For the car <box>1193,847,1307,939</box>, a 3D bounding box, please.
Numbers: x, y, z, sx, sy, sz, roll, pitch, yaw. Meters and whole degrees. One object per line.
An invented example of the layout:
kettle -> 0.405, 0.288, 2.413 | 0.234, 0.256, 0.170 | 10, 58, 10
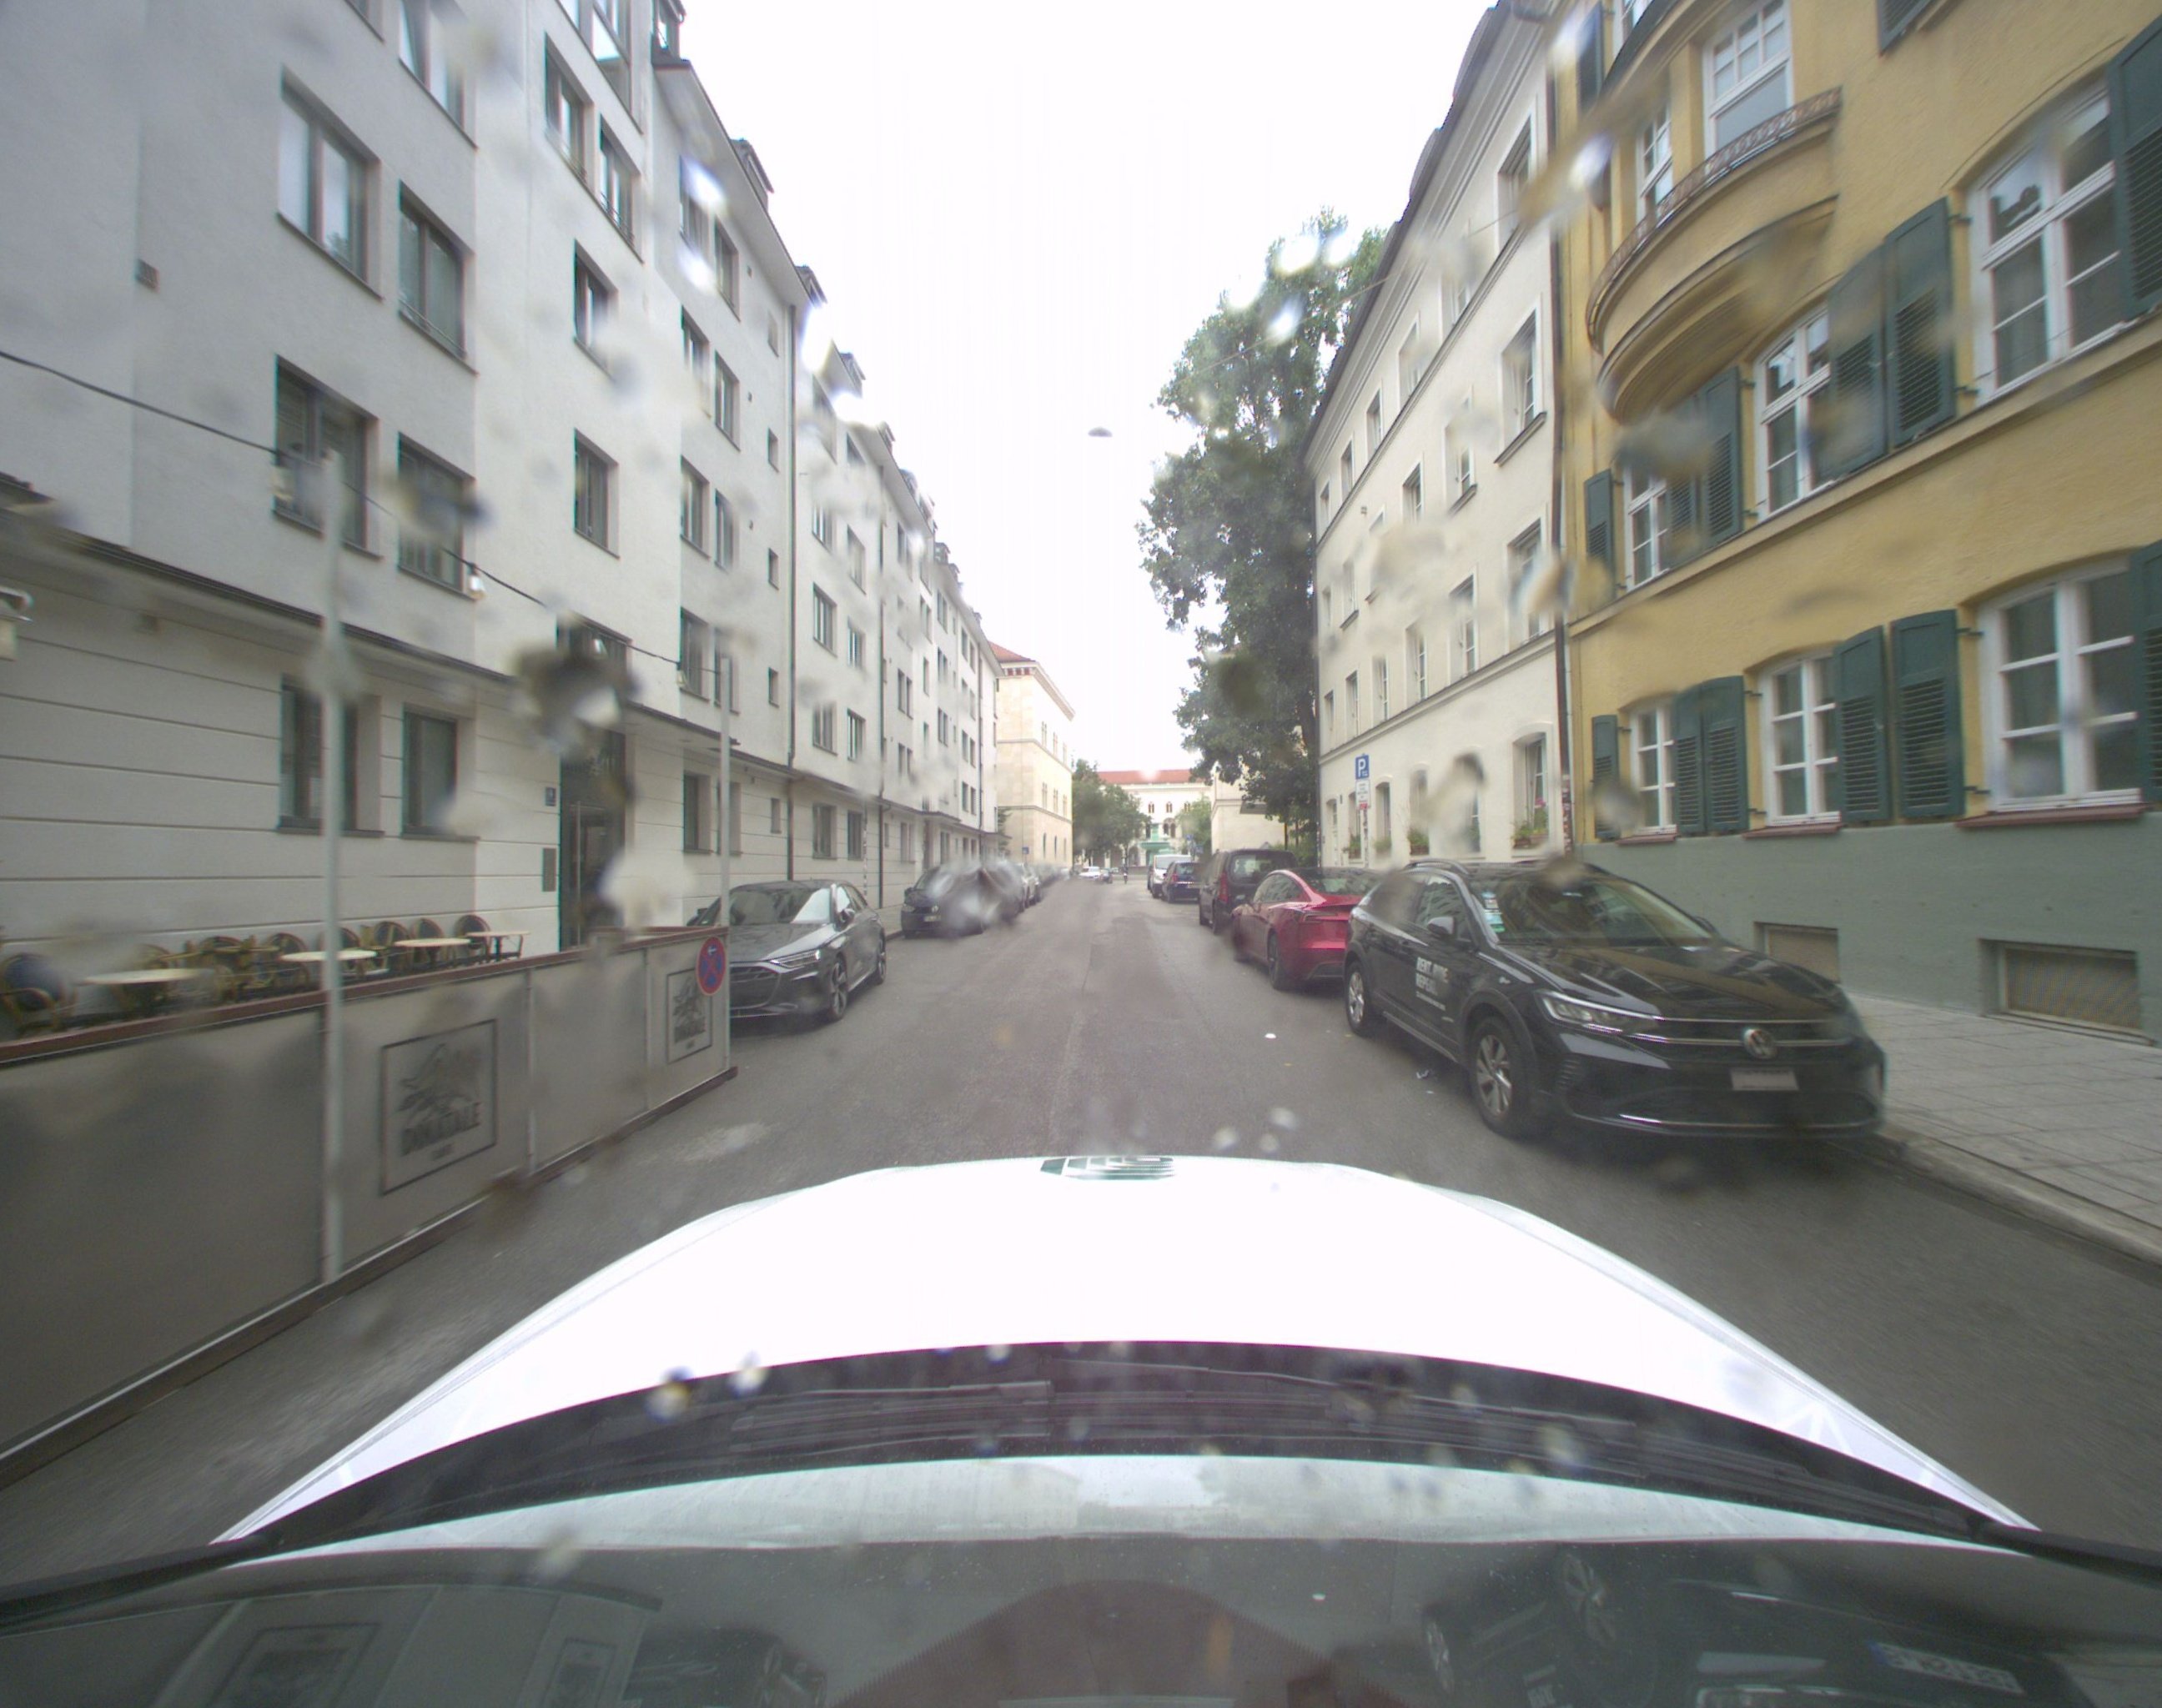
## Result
car -> 3.600, 0.811, 18.055 | 1.839, 1.776, 4.203 | 1, -1, 3

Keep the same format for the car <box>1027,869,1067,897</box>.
car -> -1.920, 1.635, 47.569 | 1.742, 1.453, 4.021 | -2, -1, 5

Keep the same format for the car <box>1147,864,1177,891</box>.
car -> 4.998, 1.426, 50.389 | 1.738, 1.594, 3.961 | 0, -1, 5

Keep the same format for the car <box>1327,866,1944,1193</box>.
car -> 3.153, 0.843, 5.761 | 1.739, 1.464, 4.002 | -1, -1, 2

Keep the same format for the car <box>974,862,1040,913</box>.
car -> -2.686, 1.190, 30.592 | 1.865, 1.658, 4.592 | -2, -1, 1

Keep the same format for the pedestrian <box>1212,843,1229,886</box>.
pedestrian -> 7.287, 0.544, 42.589 | 0.790, 2.198, 0.814 | 0, -1, 2

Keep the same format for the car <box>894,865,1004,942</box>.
car -> -3.016, 1.083, 19.426 | 1.767, 1.539, 4.160 | -2, -1, 1

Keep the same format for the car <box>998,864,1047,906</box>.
car -> -2.553, 1.329, 36.495 | 1.867, 1.658, 4.588 | -2, -1, -1

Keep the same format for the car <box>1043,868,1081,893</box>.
car -> -1.185, 1.679, 52.272 | 1.741, 1.453, 4.024 | -2, -1, 8

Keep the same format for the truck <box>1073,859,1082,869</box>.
truck -> -0.759, 2.395, 192.216 | 1.989, 2.489, 3.995 | 0, -1, -3

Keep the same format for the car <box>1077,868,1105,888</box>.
car -> 0.868, 1.986, 67.475 | 1.769, 1.535, 4.219 | -2, -2, 6

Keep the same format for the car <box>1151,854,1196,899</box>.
car -> 4.243, 1.016, 37.910 | 1.873, 1.924, 4.880 | -1, -1, 4

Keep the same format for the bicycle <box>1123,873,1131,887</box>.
bicycle -> 4.007, 2.248, 70.962 | 0.645, 1.197, 1.952 | -1, -1, 5

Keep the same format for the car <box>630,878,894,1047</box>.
car -> -3.313, 1.024, 9.320 | 1.636, 1.354, 4.052 | -2, -1, -4

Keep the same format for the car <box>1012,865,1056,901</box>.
car -> -2.375, 1.440, 42.120 | 1.865, 1.658, 4.082 | -2, -1, 2

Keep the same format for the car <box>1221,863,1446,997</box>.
car -> 3.108, 0.862, 11.021 | 1.707, 1.424, 4.458 | -1, -1, 1

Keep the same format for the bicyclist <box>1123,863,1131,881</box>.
bicyclist -> 3.994, 1.589, 71.147 | 0.654, 1.551, 0.888 | -1, -2, 5

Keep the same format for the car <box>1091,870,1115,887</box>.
car -> 2.025, 2.196, 73.749 | 1.689, 1.393, 4.220 | -2, -2, 8

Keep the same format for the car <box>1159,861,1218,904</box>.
car -> 4.156, 1.077, 31.967 | 1.802, 1.600, 4.215 | 0, -1, 0

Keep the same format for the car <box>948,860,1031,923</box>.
car -> -2.694, 1.074, 25.095 | 1.865, 1.688, 4.521 | -2, -1, 1
